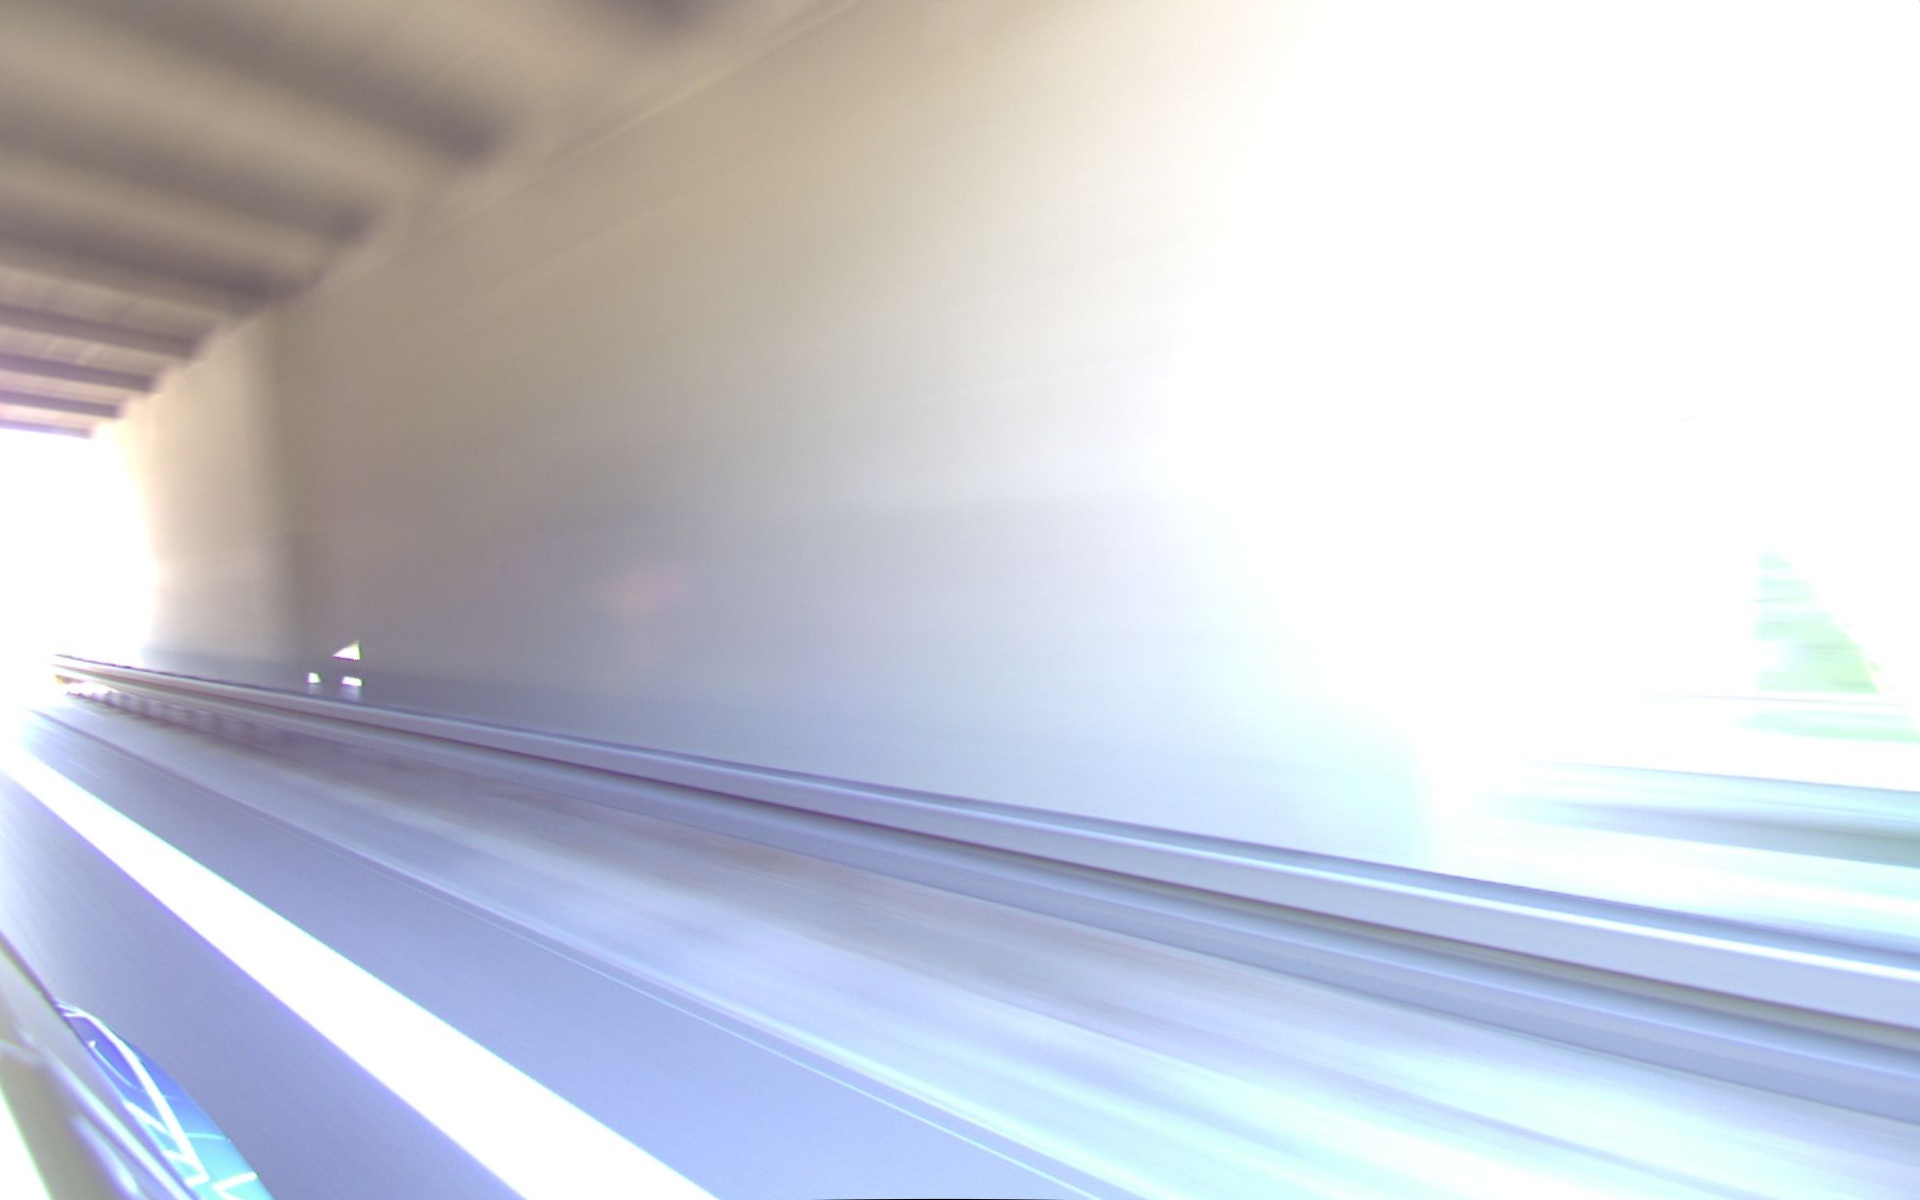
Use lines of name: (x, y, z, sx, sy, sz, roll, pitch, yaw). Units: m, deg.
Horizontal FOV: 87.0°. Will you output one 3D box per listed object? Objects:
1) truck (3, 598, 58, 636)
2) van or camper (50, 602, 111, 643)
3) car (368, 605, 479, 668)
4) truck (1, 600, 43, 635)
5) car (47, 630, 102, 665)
truck: (-112.515, 2.033, 122.416, 13.952, 4.284, 3.034, -1, -4, 41)
van or camper: (-65.897, 1.636, 75.757, 7.231, 2.928, 2.565, -1, 0, 42)
car: (-22.276, 1.459, 41.891, 5.730, 2.417, 2.068, -1, 0, 40)
truck: (-117.533, 2.214, 126.782, 6.455, 4.093, 2.938, -1, -4, 41)
car: (-50.423, 2.673, 57.603, 4.710, 1.829, 1.673, -1, 0, 40)
